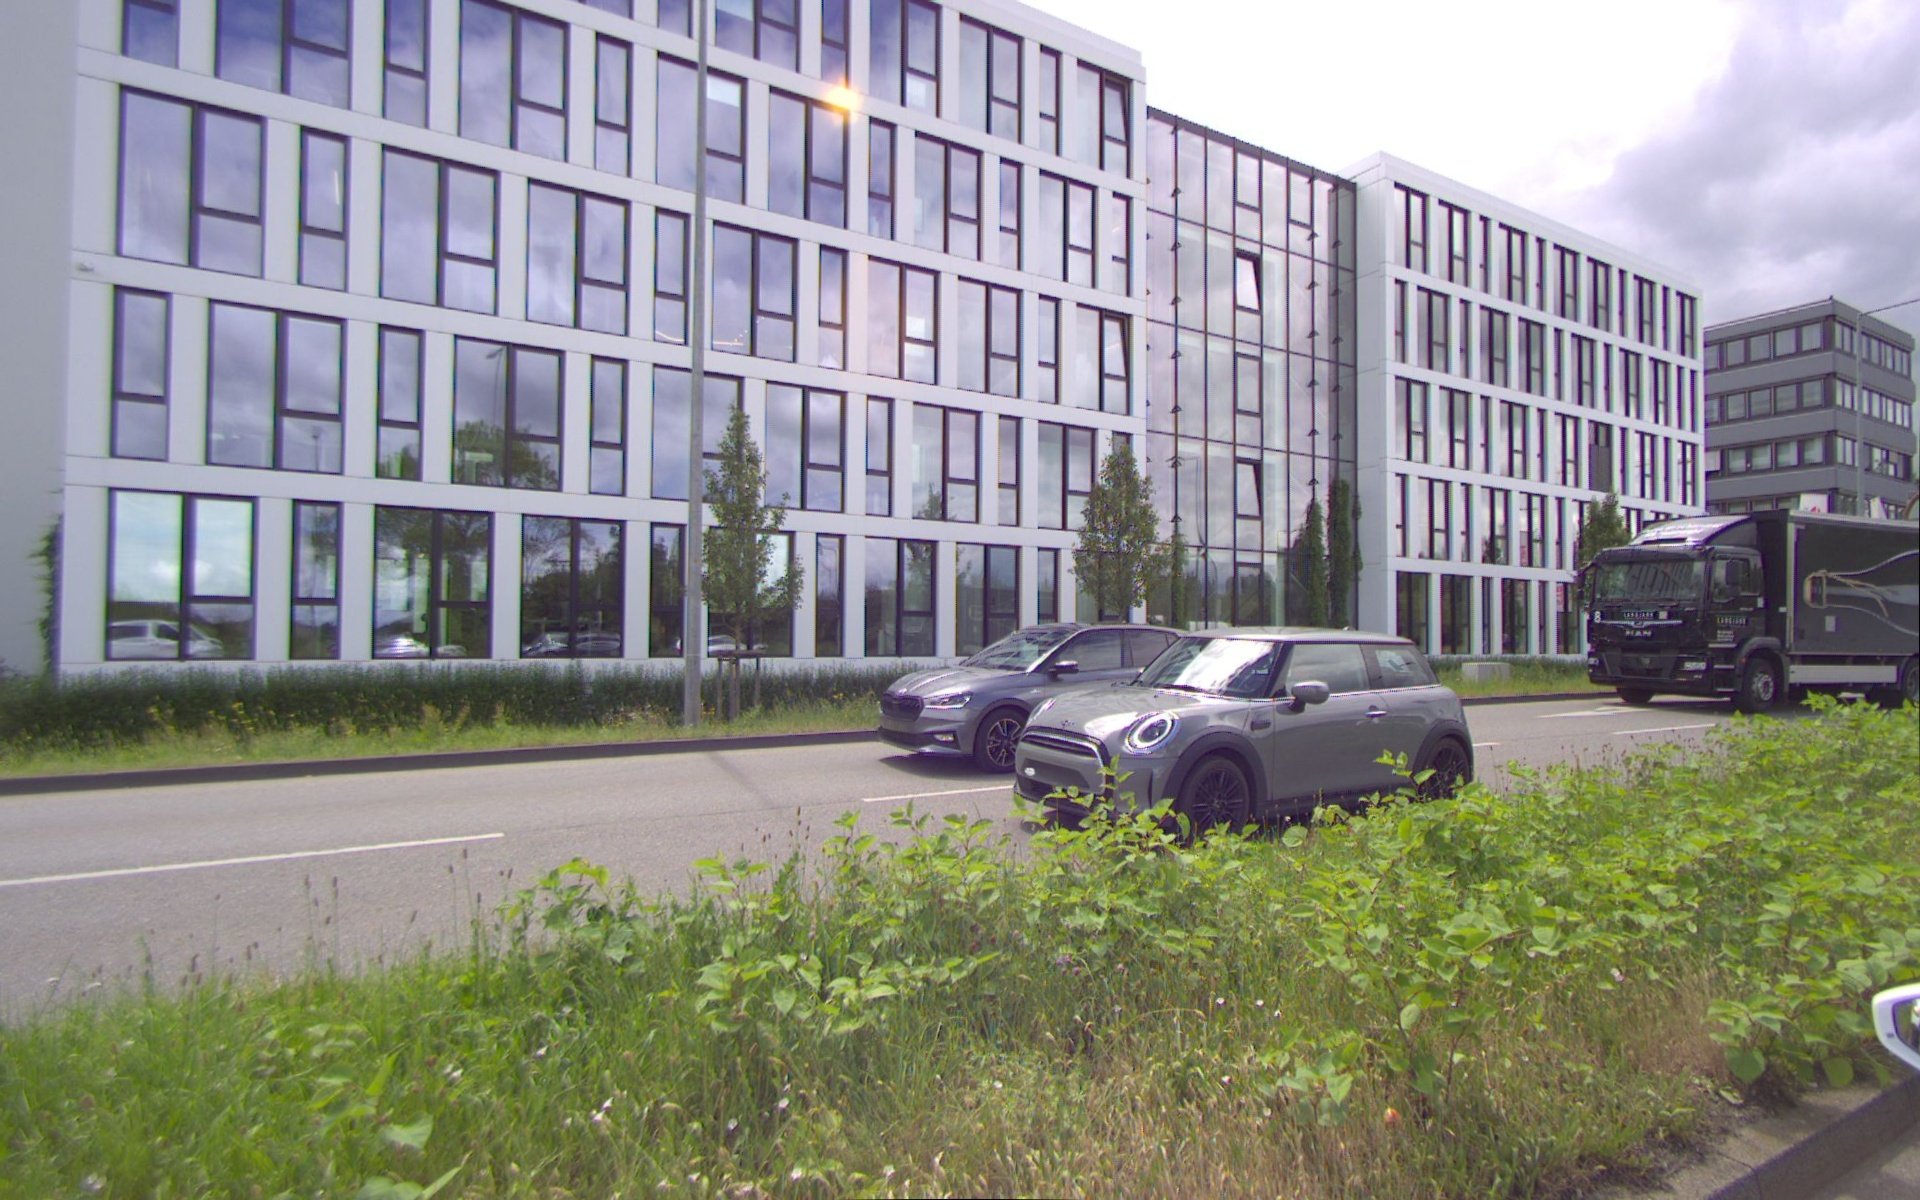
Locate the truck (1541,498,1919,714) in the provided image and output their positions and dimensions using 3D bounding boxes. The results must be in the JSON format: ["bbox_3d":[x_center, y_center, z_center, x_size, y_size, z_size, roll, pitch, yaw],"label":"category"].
[{"bbox_3d":[16.287,0.149,19.700,9.381,3.565,3.163,1,1,-20],"label":"truck"}]

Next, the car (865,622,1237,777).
[{"bbox_3d":[1.010,0.944,10.698,3.733,1.401,1.547,1,-1,-29],"label":"car"}]

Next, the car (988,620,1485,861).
[{"bbox_3d":[2.172,0.904,7.717,3.593,1.449,1.681,1,-2,-30],"label":"car"}]
